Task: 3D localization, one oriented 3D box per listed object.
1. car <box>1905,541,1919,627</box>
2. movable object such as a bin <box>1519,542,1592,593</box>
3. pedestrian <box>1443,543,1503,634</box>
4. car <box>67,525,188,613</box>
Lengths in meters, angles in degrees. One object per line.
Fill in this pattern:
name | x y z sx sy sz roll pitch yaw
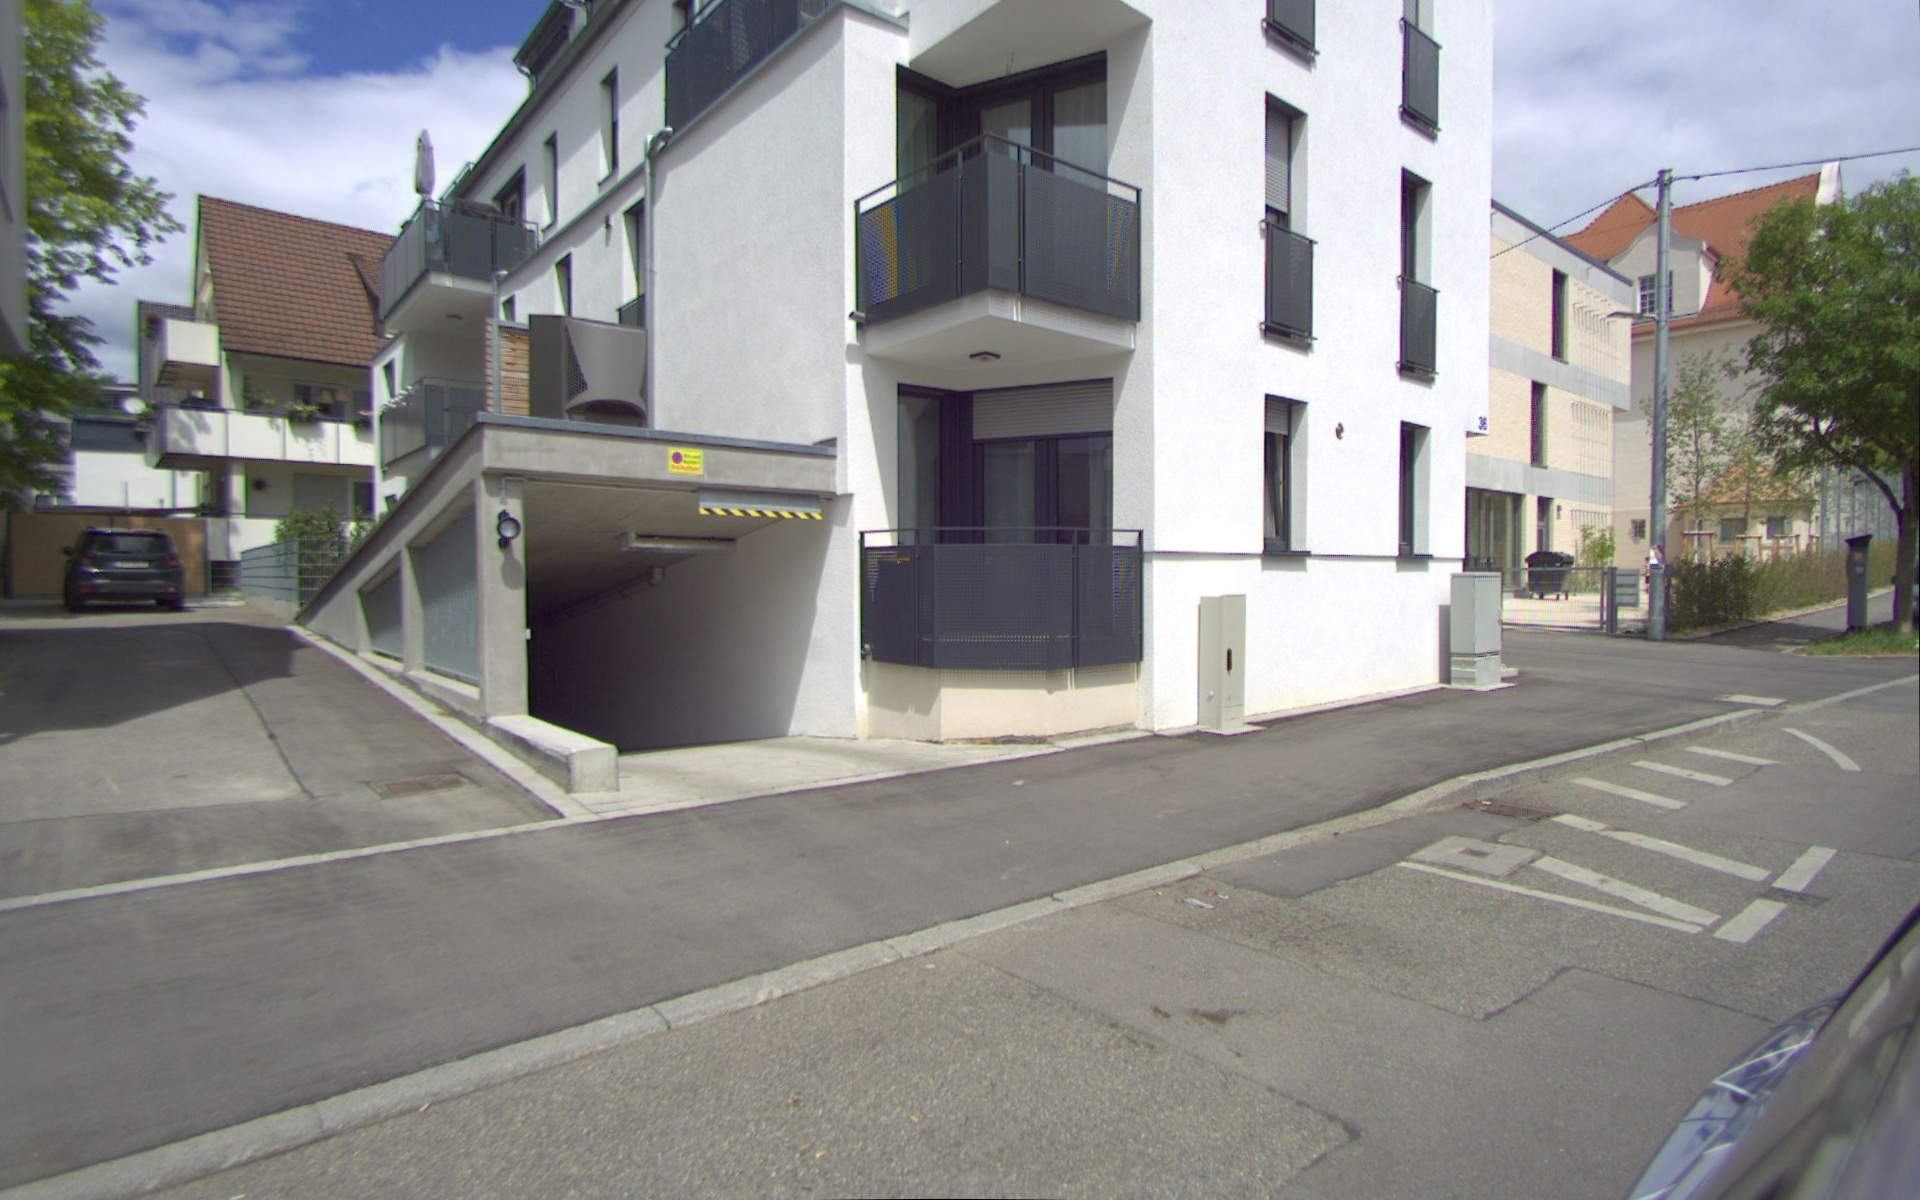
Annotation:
car | 21.645 -0.392 21.579 4.087 1.764 1.698 -3 3 -40
movable object such as a bin | 17.910 -0.984 30.435 1.775 1.465 1.351 -3 2 -39
pedestrian | 9.997 -0.235 19.716 0.815 1.724 0.774 -2 2 -41
car | -17.147 -0.667 20.999 1.655 1.643 4.001 0 3 -35
